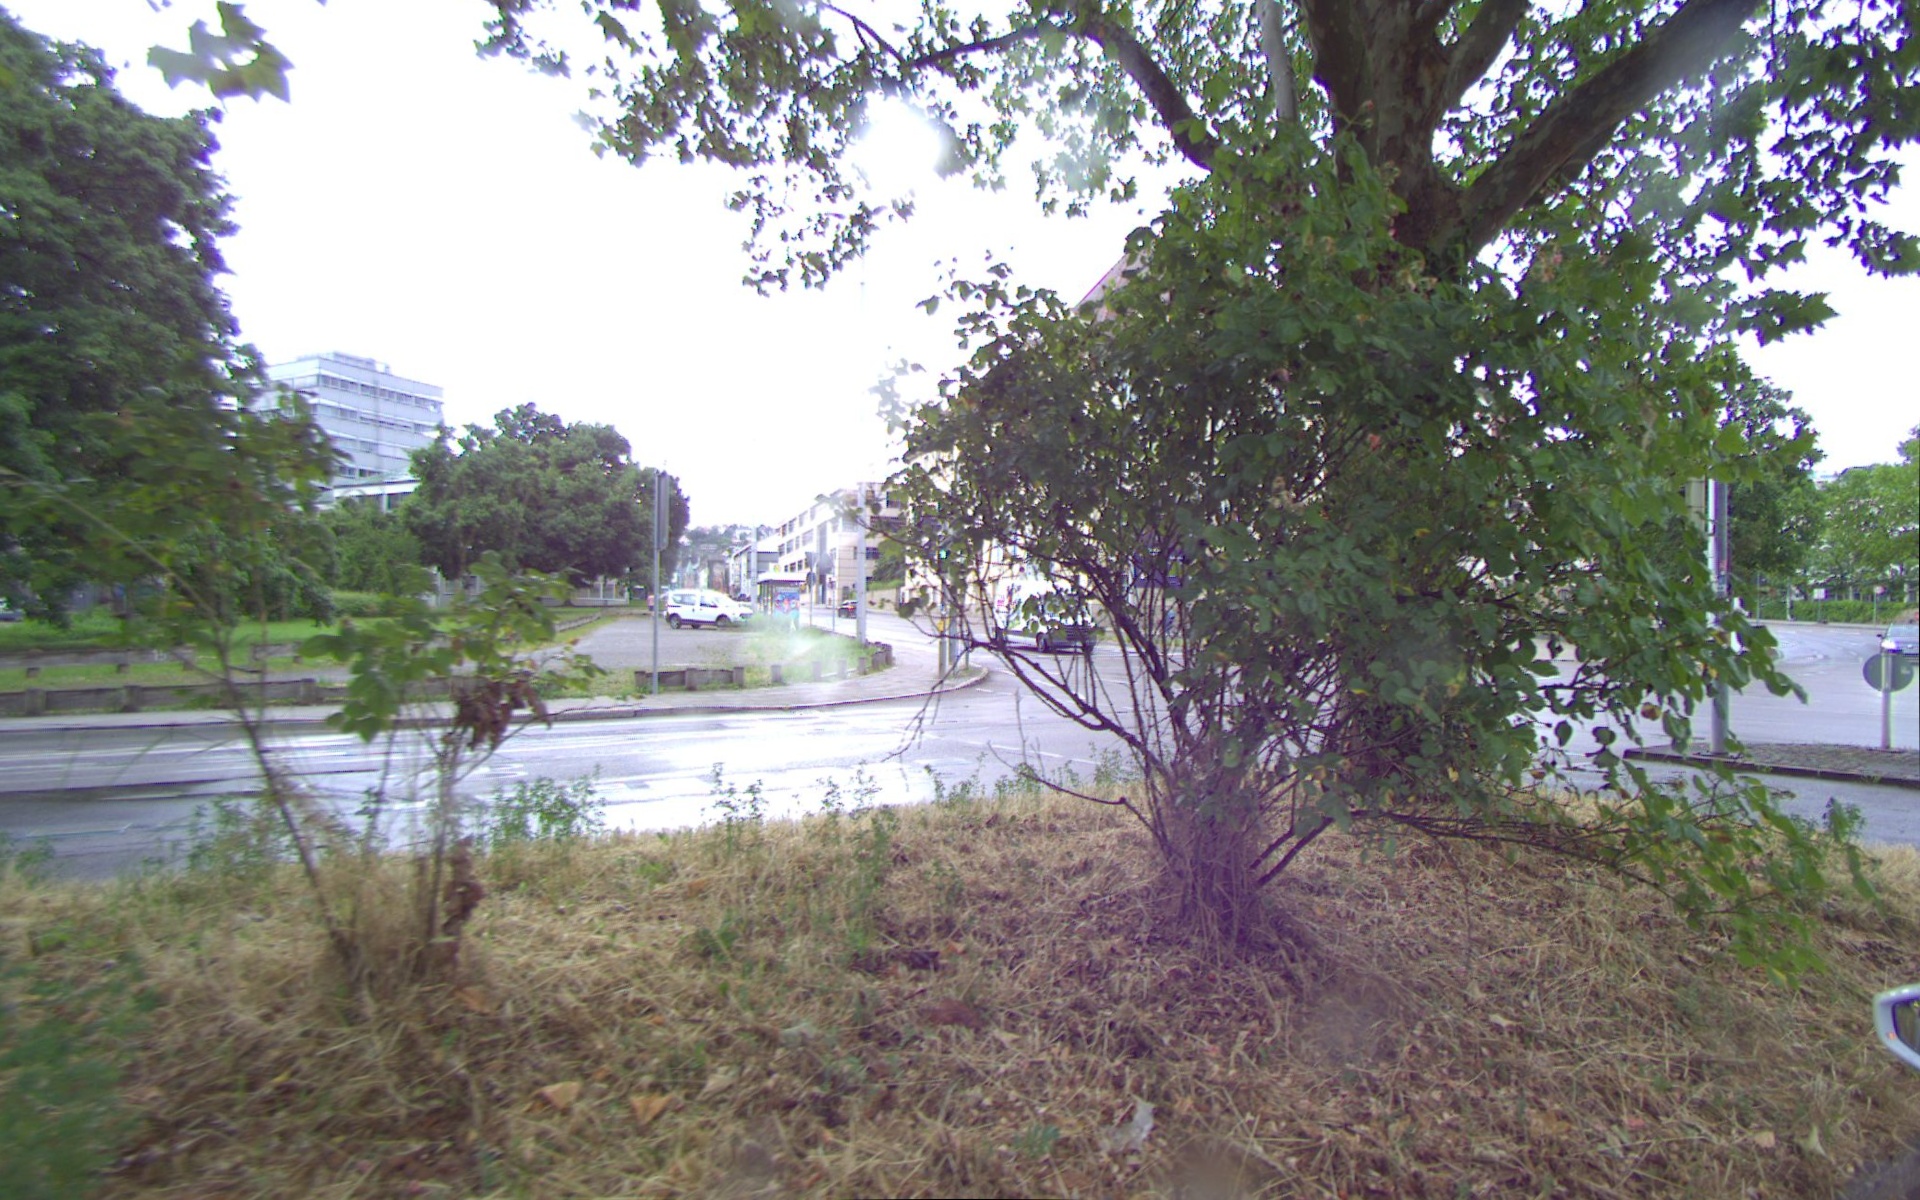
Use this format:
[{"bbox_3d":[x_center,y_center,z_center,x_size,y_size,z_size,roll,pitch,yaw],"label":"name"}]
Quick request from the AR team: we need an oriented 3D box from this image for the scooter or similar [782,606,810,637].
[{"bbox_3d":[-6.656,0.870,40.798,0.541,1.182,1.253,3,0,20],"label":"scooter or similar"}]

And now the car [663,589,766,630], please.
[{"bbox_3d":[-11.388,0.440,46.530,4.420,1.791,1.833,1,-1,24],"label":"car"}]

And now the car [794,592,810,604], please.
[{"bbox_3d":[-23.394,-0.245,148.601,1.814,1.581,3.987,3,1,-14],"label":"car"}]

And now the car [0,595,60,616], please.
[{"bbox_3d":[-58.590,0.342,62.459,3.500,1.158,1.586,3,0,-18],"label":"car"}]

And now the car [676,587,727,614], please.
[{"bbox_3d":[-17.501,0.041,67.879,1.838,1.765,4.029,1,-1,-39],"label":"car"}]

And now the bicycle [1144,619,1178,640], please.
[{"bbox_3d":[10.826,1.572,54.140,0.642,1.070,1.801,2,-1,-38],"label":"bicycle"}]

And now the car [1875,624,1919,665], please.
[{"bbox_3d":[39.145,1.804,41.572,1.847,1.585,4.252,-1,-1,43],"label":"car"}]

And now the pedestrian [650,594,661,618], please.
[{"bbox_3d":[-19.892,0.415,65.590,0.557,1.548,0.669,3,0,-8],"label":"pedestrian"}]

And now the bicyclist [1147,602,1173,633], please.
[{"bbox_3d":[10.800,0.938,54.211,0.696,1.654,1.116,2,0,-38],"label":"bicyclist"}]

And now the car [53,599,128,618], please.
[{"bbox_3d":[-60.398,0.594,69.822,3.500,1.158,1.586,3,0,-18],"label":"car"}]
